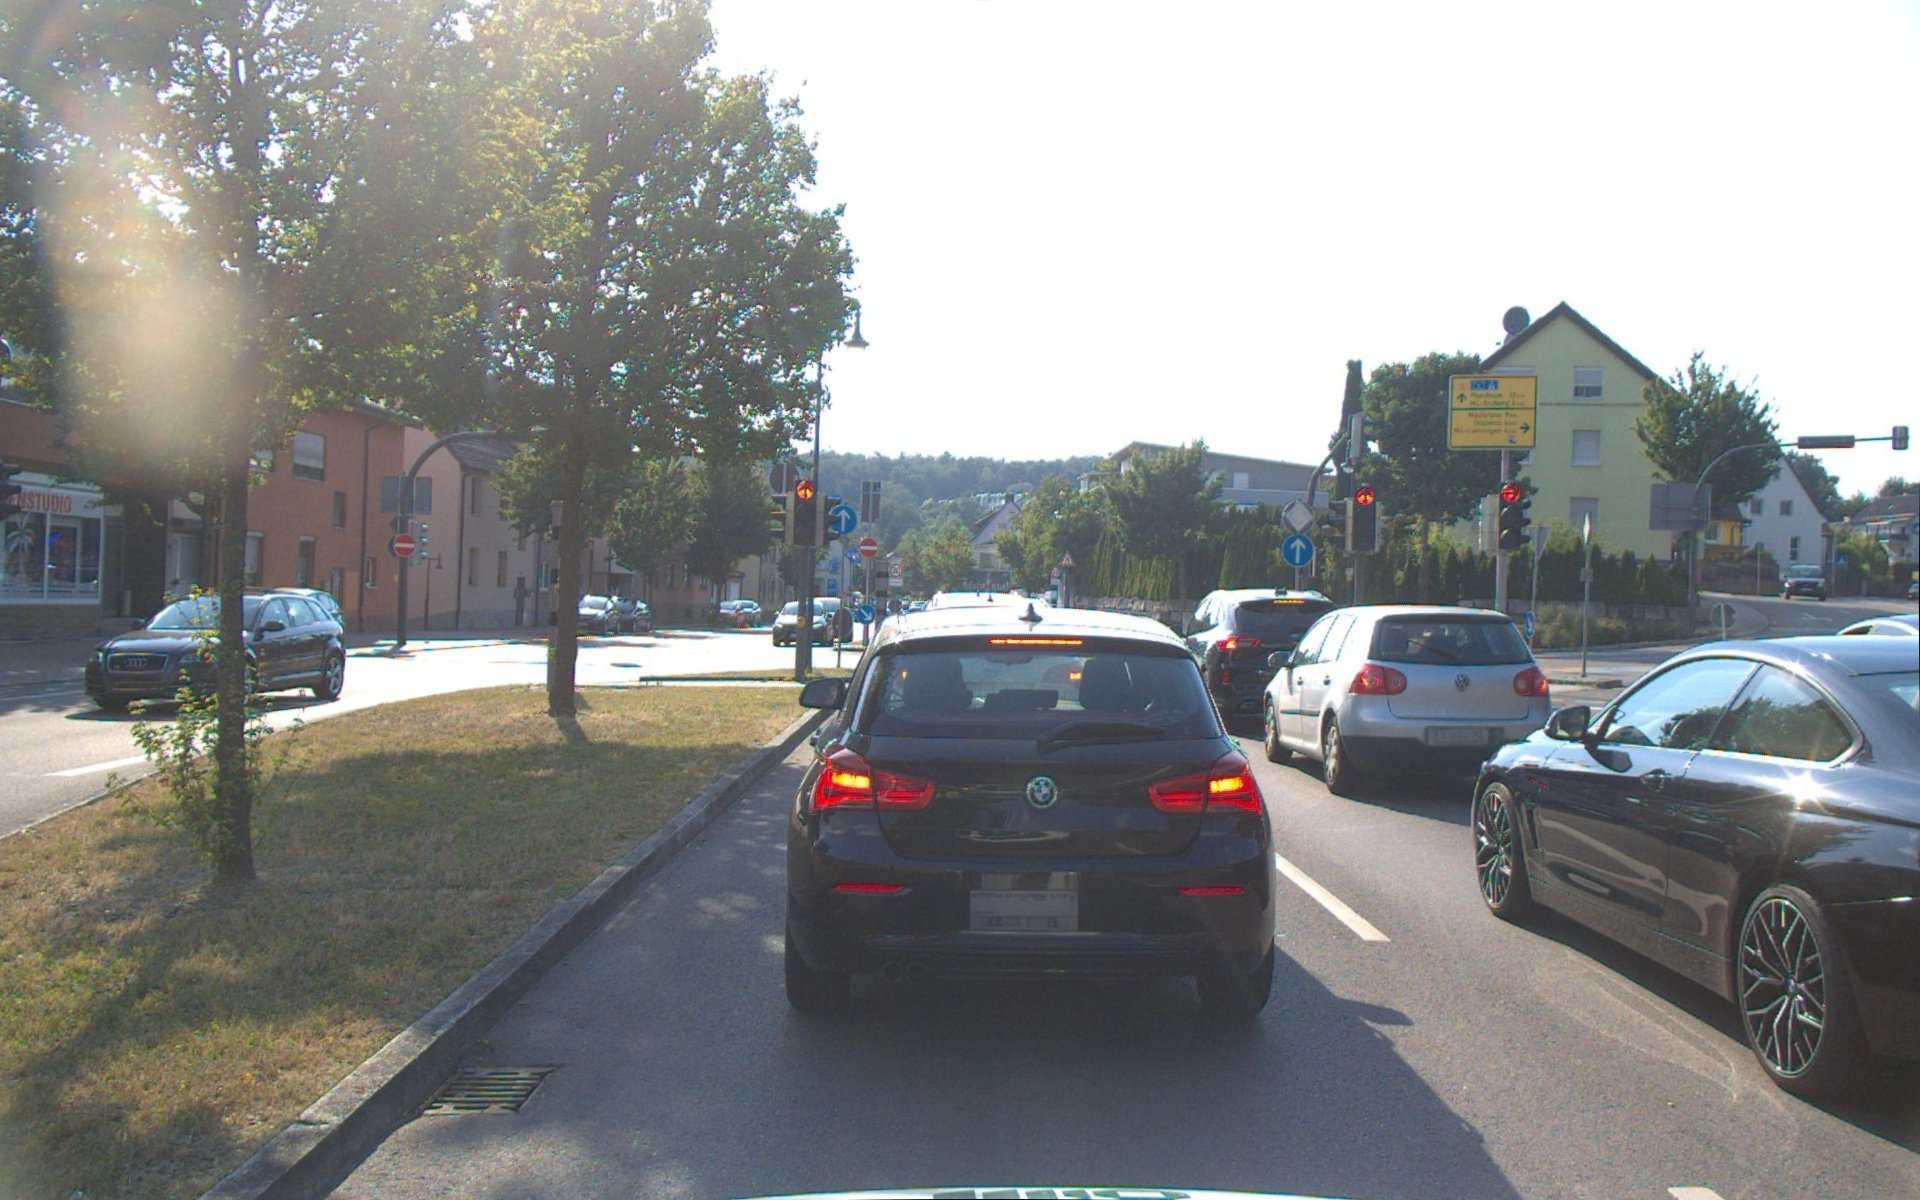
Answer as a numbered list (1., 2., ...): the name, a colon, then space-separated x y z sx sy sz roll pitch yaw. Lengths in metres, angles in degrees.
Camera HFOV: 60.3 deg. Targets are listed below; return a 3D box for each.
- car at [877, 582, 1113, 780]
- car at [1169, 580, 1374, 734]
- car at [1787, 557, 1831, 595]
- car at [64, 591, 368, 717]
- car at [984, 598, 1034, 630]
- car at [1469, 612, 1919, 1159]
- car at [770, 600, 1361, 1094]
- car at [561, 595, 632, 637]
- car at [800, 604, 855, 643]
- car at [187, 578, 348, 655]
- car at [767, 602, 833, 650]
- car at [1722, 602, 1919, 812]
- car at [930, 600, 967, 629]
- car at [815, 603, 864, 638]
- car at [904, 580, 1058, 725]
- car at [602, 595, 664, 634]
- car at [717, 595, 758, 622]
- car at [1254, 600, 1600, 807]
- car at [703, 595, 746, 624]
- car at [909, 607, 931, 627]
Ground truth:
1. car: 0.292 0.607 14.693 1.779 1.476 4.242 1 0 1
2. car: 3.753 0.632 20.638 1.779 1.695 4.347 1 0 1
3. car: 39.165 -1.135 76.336 1.751 1.533 4.067 1 4 27
4. car: -9.245 0.608 20.952 1.610 1.411 4.192 1 0 6
5. car: 2.446 0.687 83.500 1.826 1.511 4.652 1 0 -7
6. car: 3.475 0.787 6.288 1.779 1.413 4.347 1 0 1
7. car: 0.344 0.739 7.127 1.754 1.439 4.347 1 0 1
8. car: -14.729 0.625 67.217 1.884 1.624 4.000 1 0 1
9. car: -4.993 0.874 62.629 1.658 1.377 4.000 1 0 1
10. car: -15.710 0.352 37.775 1.805 1.579 4.001 3 0 2
11. car: -5.307 0.838 55.229 1.730 1.484 4.000 1 0 1
12. car: 7.554 0.765 12.351 1.646 1.460 4.590 1 0 1
13. car: -0.746 0.900 104.044 1.854 1.732 4.518 0 0 -6
14. car: -5.038 0.849 69.529 1.658 1.377 4.000 1 0 1
15. car: 0.269 0.607 21.415 1.779 1.670 4.242 1 0 1
16. car: -14.438 0.615 73.254 1.884 1.624 4.000 1 0 1
17. car: -13.823 0.513 102.976 1.884 1.624 4.000 1 0 1
18. car: 3.782 0.753 14.204 1.779 1.471 4.347 1 0 1
19. car: -13.866 0.531 97.470 1.884 1.624 4.000 1 0 1
20. car: -3.464 1.439 143.054 1.885 1.624 3.999 1 0 -1
